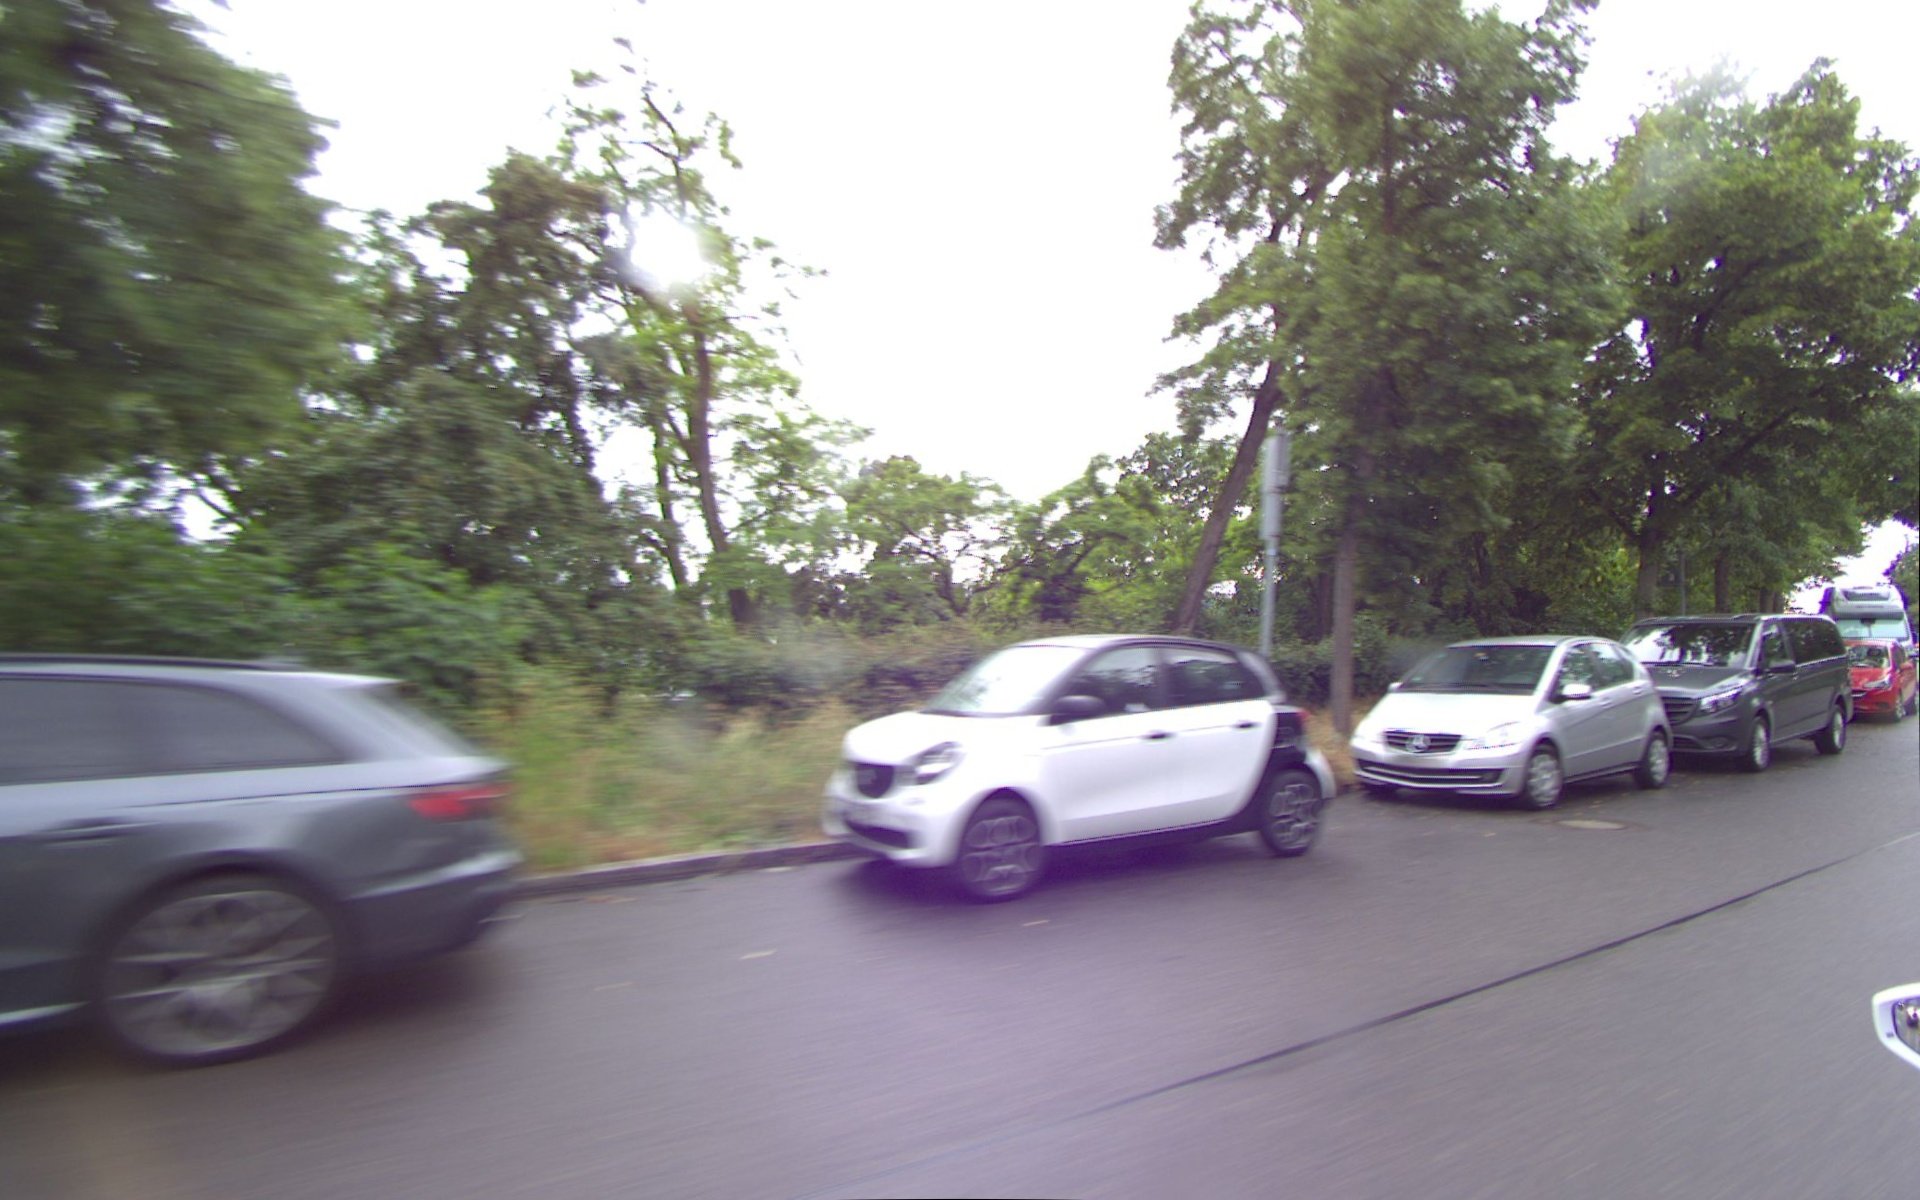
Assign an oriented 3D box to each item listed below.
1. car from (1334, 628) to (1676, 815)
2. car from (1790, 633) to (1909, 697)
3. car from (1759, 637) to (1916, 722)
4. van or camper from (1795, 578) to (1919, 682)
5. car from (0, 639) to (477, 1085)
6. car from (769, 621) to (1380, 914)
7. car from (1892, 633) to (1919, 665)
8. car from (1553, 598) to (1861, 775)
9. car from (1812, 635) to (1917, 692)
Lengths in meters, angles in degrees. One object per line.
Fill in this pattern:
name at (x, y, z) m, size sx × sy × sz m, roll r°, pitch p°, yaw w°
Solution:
car at (5.671, 1.152, 10.317) m, size 3.733 × 1.572 × 1.672 m, roll 3°, pitch -5°, yaw -37°
car at (21.830, 1.547, 24.616) m, size 3.521 × 1.426 × 1.935 m, roll 1°, pitch -3°, yaw -45°
car at (17.875, 1.543, 20.384) m, size 4.543 × 1.480 × 1.936 m, roll 1°, pitch -3°, yaw -44°
van or camper at (29.421, 1.041, 33.041) m, size 2.474 × 3.066 × 6.538 m, roll -3°, pitch -3°, yaw 36°
car at (-4.200, 0.861, 3.489) m, size 4.447 × 1.398 × 1.677 m, roll 2°, pitch -5°, yaw -29°
car at (0.916, 0.999, 7.118) m, size 4.159 × 1.529 × 1.675 m, roll 2°, pitch -5°, yaw -32°
car at (50.647, 2.556, 52.787) m, size 1.797 × 1.638 × 3.775 m, roll 0°, pitch -2°, yaw 33°
car at (10.218, 1.060, 13.609) m, size 4.954 × 1.993 × 1.941 m, roll 1°, pitch -4°, yaw -37°
car at (25.517, 1.747, 28.299) m, size 4.180 × 1.426 × 1.935 m, roll 1°, pitch -3°, yaw -45°
